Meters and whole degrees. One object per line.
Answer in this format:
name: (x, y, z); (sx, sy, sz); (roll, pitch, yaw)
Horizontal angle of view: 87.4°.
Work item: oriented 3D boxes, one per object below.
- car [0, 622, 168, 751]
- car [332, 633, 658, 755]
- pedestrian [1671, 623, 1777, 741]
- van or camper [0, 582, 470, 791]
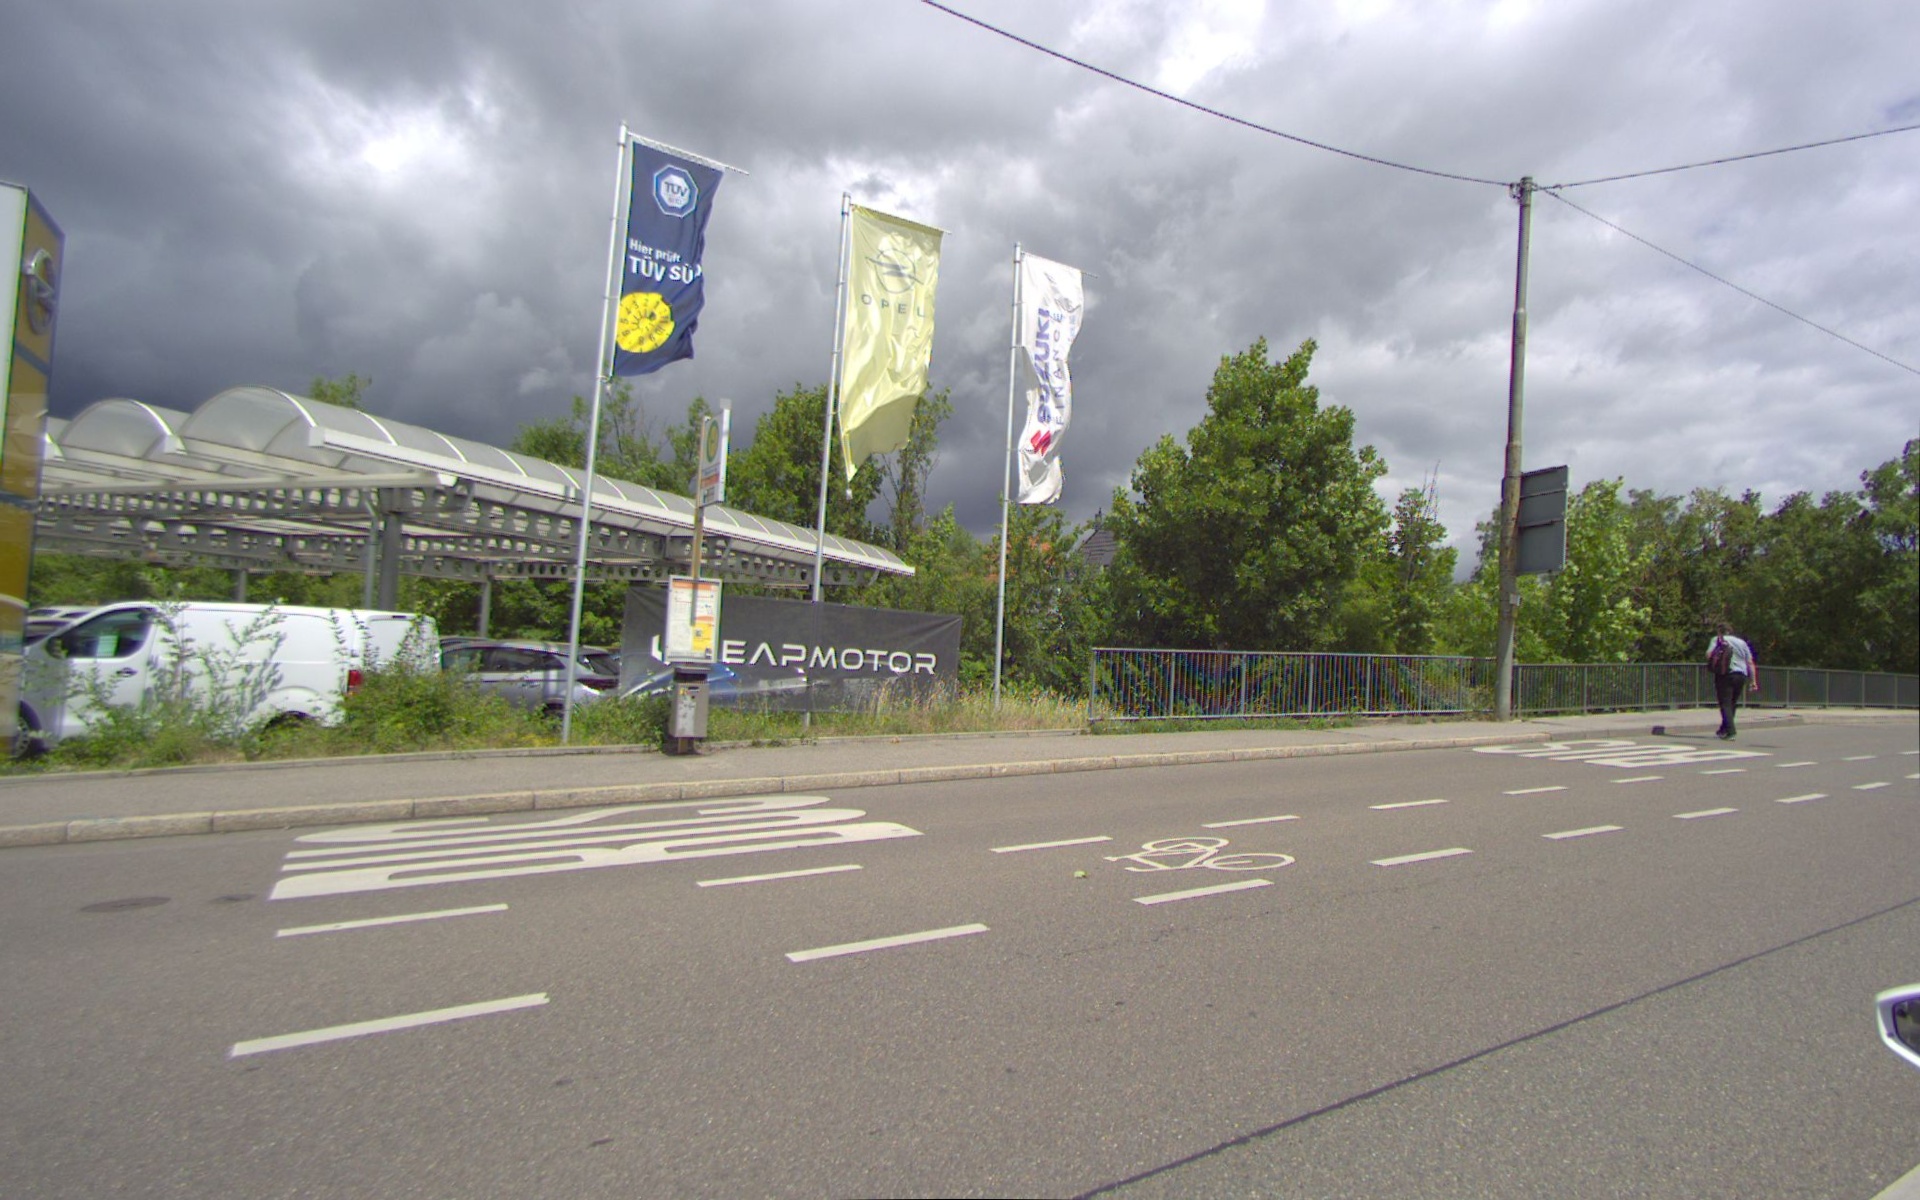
car: (-13.196, 1.096, 13.888); (3.923, 1.485, 1.818); (2, -3, 24)
car: (-6.740, 1.361, 14.958); (3.925, 1.485, 1.817); (4, -3, -6)
pedestrian: (12.791, 1.341, 16.849); (0.979, 1.861, 1.037); (2, -1, 6)
van or camper: (-8.651, 0.918, 11.661); (4.859, 1.989, 1.991); (3, -2, 4)
